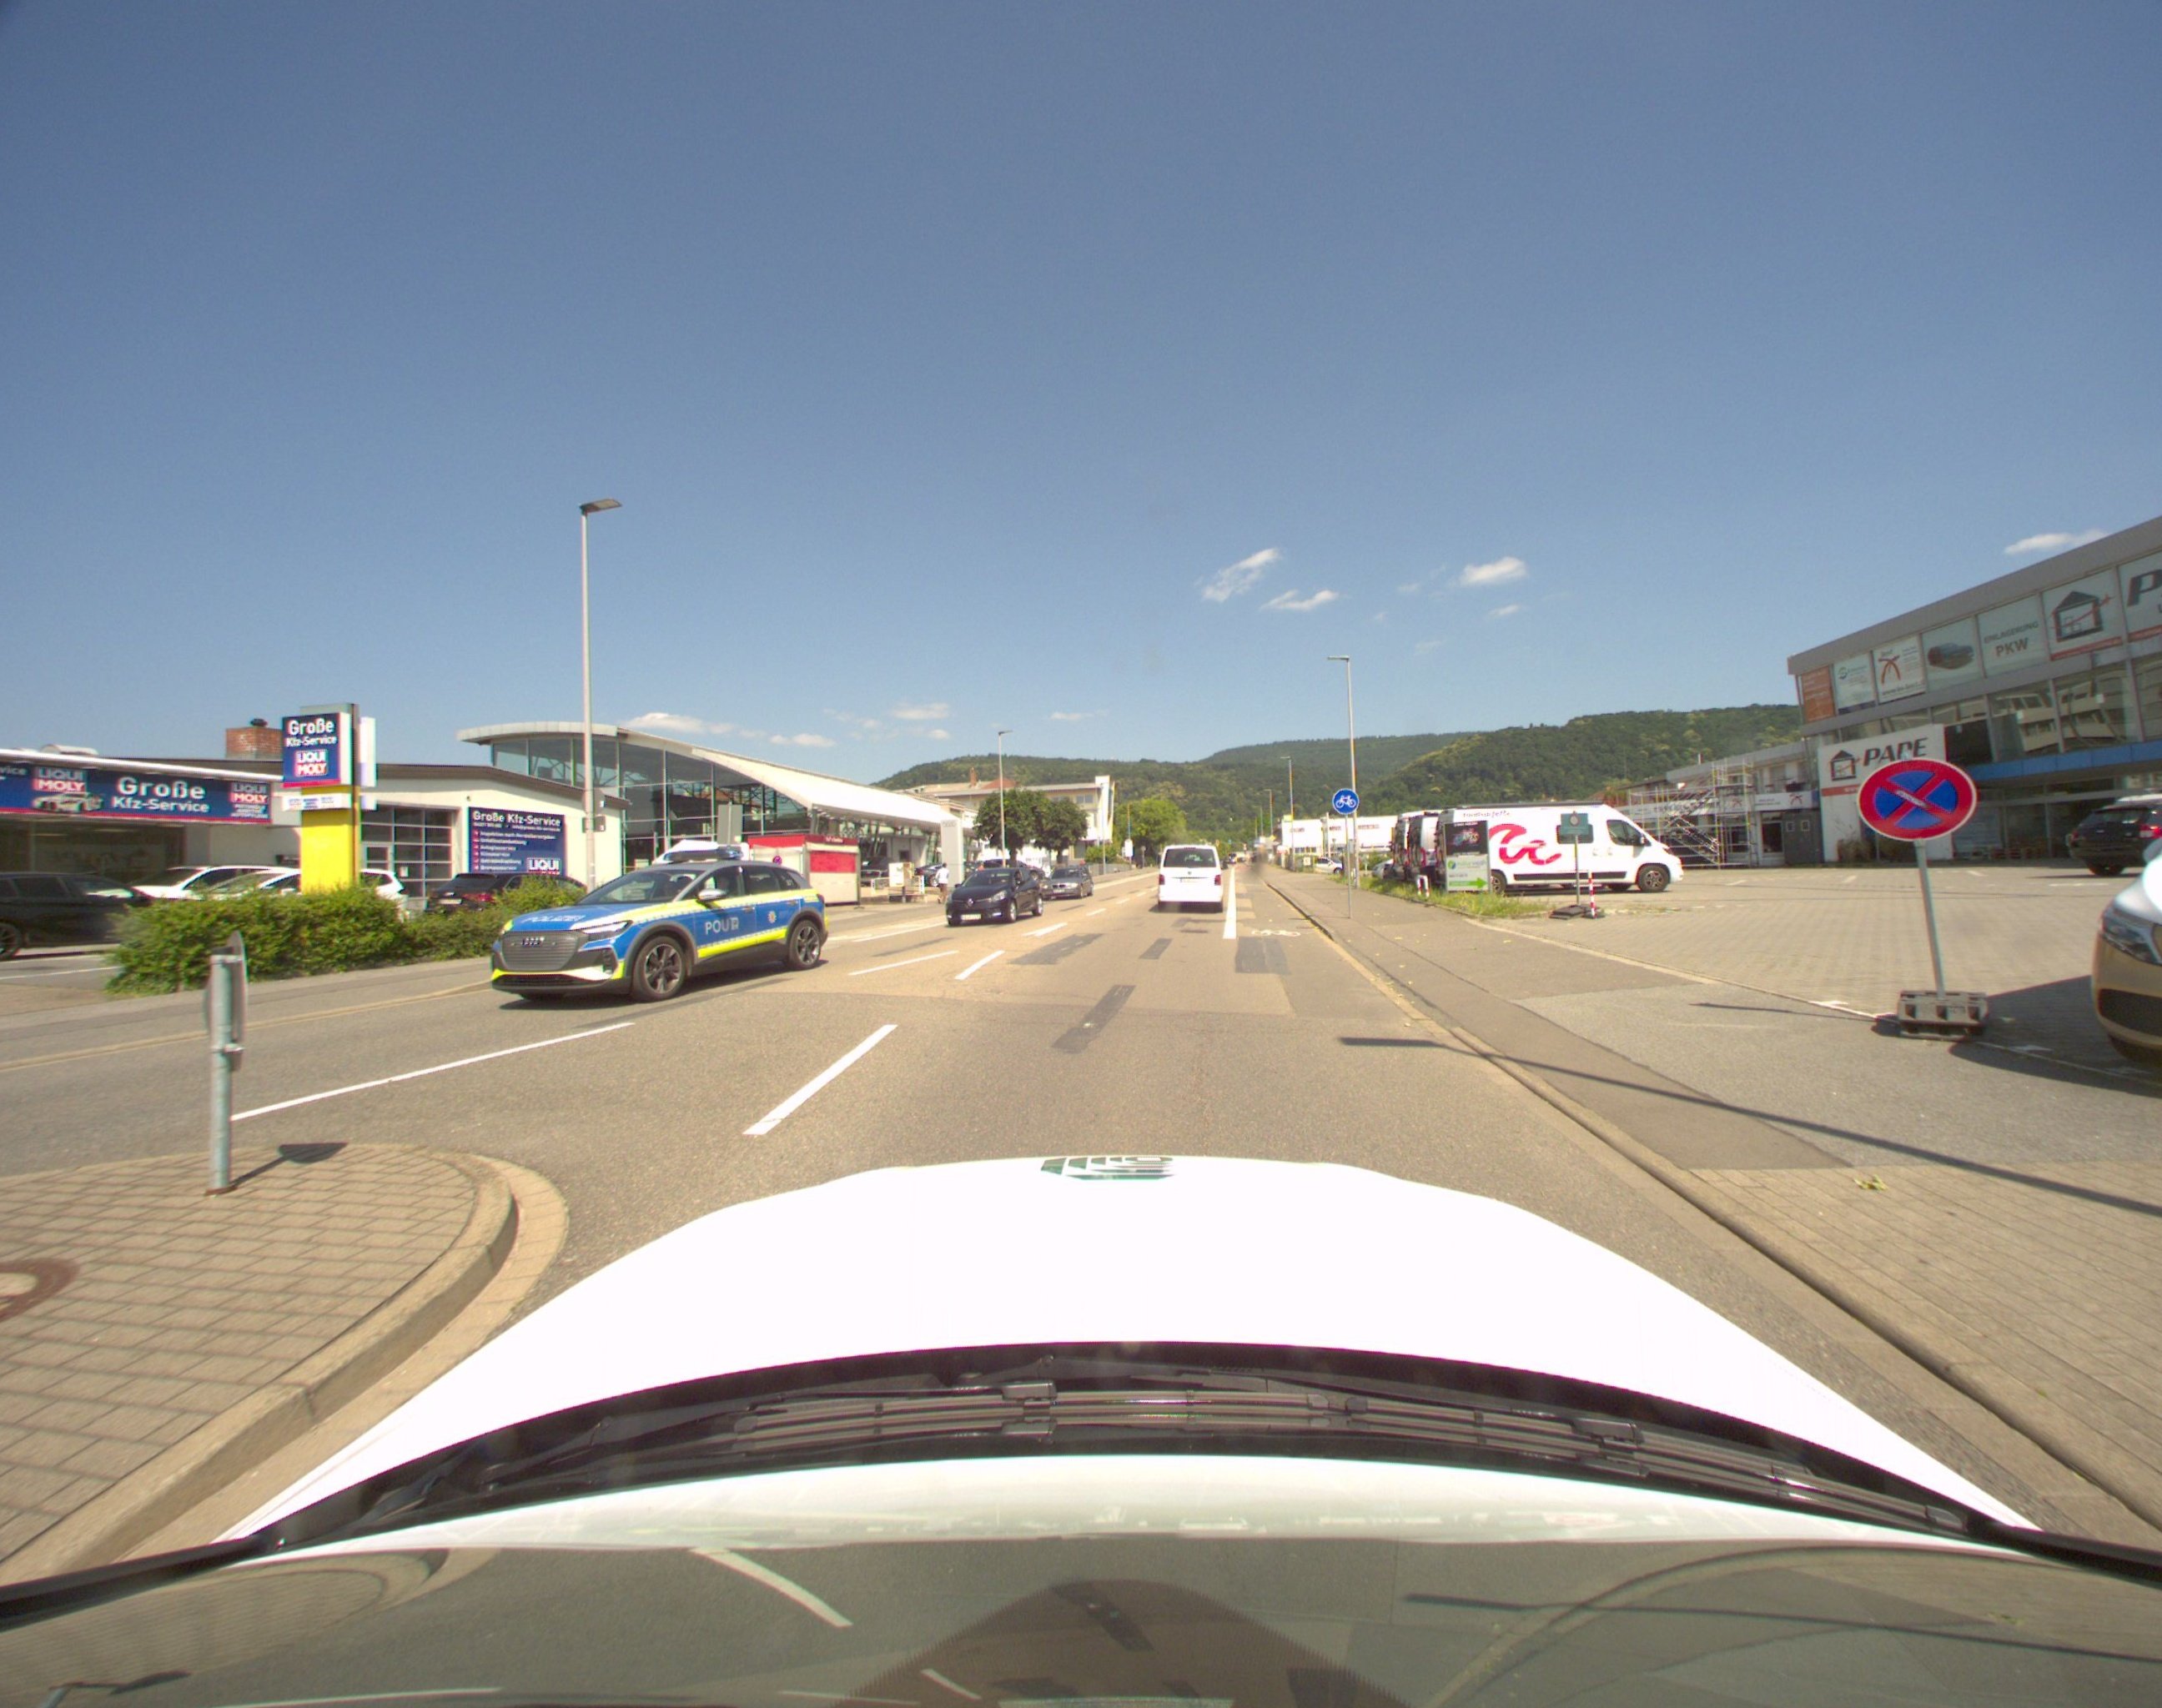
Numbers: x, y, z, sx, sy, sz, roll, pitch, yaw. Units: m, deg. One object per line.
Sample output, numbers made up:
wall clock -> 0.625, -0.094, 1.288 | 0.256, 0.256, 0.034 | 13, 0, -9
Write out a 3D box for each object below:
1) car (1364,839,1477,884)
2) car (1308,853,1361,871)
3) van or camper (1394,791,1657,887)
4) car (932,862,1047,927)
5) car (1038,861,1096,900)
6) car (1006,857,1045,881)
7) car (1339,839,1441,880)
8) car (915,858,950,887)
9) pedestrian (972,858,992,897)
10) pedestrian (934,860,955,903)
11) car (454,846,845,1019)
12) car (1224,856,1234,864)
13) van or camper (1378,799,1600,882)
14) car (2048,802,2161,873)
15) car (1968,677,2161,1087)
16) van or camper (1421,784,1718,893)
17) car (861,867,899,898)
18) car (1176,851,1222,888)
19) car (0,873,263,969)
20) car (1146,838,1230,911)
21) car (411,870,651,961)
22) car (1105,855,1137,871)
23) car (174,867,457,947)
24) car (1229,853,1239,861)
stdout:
car -> 14.911, 0.356, 35.993 | 4.271, 1.752, 1.984 | -3, -2, 12
car -> 20.106, 0.628, 64.581 | 1.667, 1.310, 3.661 | -2, -1, -39
van or camper -> 13.927, -0.403, 26.266 | 6.561, 2.561, 3.764 | -3, -1, 12
car -> -2.342, 1.028, 21.911 | 1.829, 1.464, 4.013 | -4, -2, 12
car -> -0.548, 1.115, 35.711 | 1.830, 1.464, 4.010 | -3, 0, 9
car -> -4.082, 1.106, 59.260 | 1.753, 1.585, 3.633 | -2, -1, -23
car -> 14.725, 0.310, 39.034 | 4.271, 1.752, 1.984 | -3, -2, 12
car -> -8.633, 1.061, 47.149 | 1.748, 1.585, 3.644 | -2, -1, -14
pedestrian -> -4.666, 1.116, 38.441 | 0.757, 1.788, 0.927 | -2, -1, -1
pedestrian -> -5.775, 1.162, 34.459 | 0.758, 1.788, 0.783 | -2, -1, -6
car -> -5.195, 0.825, 10.672 | 1.894, 1.760, 4.470 | -3, 0, 15
car -> 27.834, 1.173, 153.469 | 1.708, 1.303, 4.011 | -3, 0, 10
van or camper -> 14.654, -0.442, 29.885 | 6.561, 2.561, 3.411 | -3, -1, 12
car -> 24.983, -0.440, 18.227 | 3.961, 1.518, 1.897 | -3, 0, 11
car -> 8.059, 0.036, 4.700 | 5.158, 2.095, 2.036 | -2, -2, -20
van or camper -> 13.328, -0.375, 22.875 | 6.461, 2.561, 2.984 | -3, -1, 12
car -> -11.261, 1.568, 45.794 | 1.745, 1.585, 3.649 | -2, -1, -10
car -> 5.866, 0.777, 40.015 | 1.980, 1.708, 4.012 | 0, -2, 11
car -> -17.698, 1.132, 14.259 | 2.014, 1.427, 4.328 | -3, -1, 9
car -> 3.454, 0.615, 25.430 | 2.148, 2.014, 5.034 | -1, -1, 12
car -> -11.827, 1.251, 17.884 | 1.979, 1.618, 4.015 | -3, 0, 14
car -> 5.691, 1.242, 115.602 | 4.300, 2.014, 1.999 | -2, -1, -1
car -> -18.727, 1.212, 20.352 | 1.869, 1.588, 4.941 | -4, -1, 10
car -> 35.573, 0.667, 189.405 | 1.981, 1.684, 4.011 | -2, -1, 10
